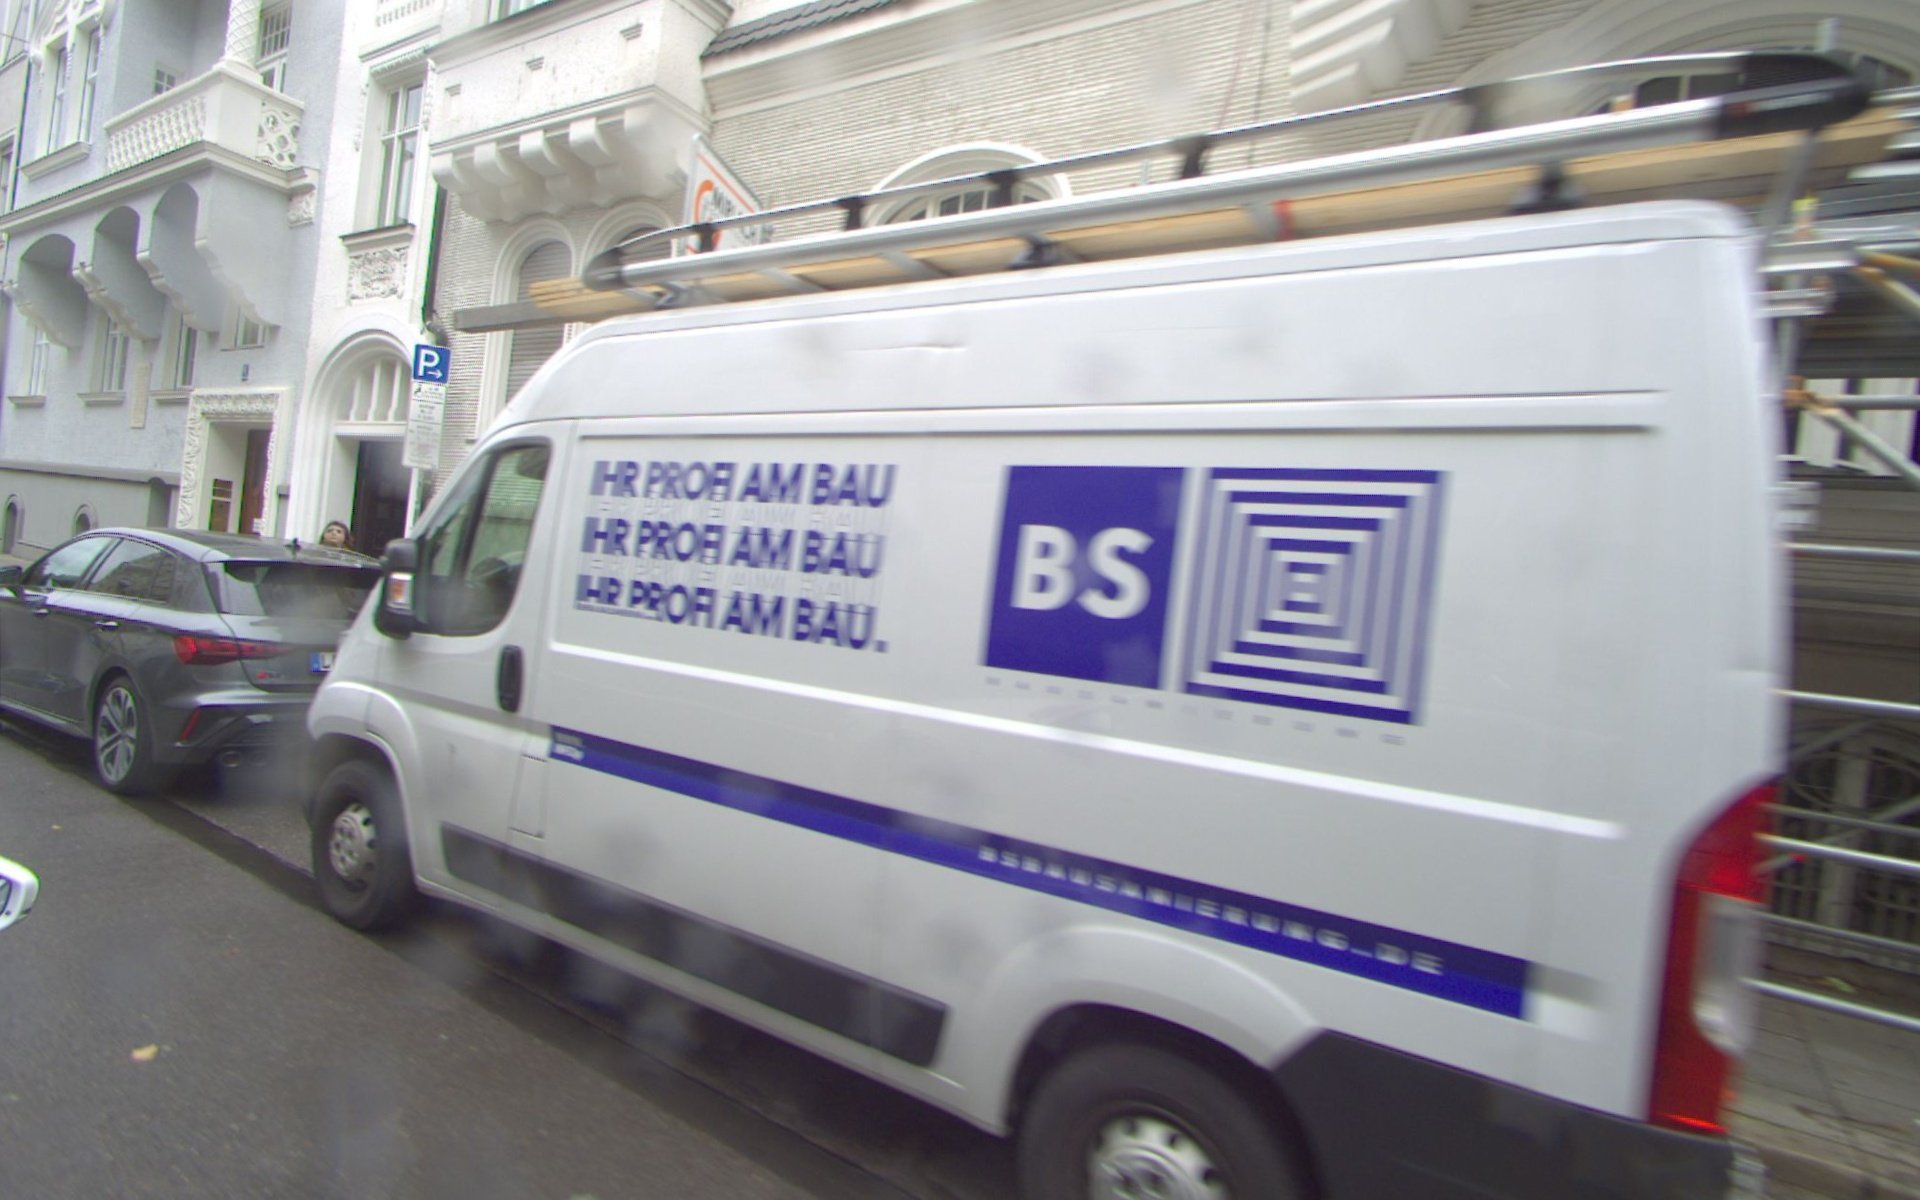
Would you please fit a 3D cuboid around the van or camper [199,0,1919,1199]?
[{"bbox_3d":[-0.438,0.158,3.805,5.368,2.670,1.955,7,1,32],"label":"van or camper"}]

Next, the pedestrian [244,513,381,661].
[{"bbox_3d":[-7.405,-0.150,11.509,1.000,1.575,0.920,5,2,31],"label":"pedestrian"}]

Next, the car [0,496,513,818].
[{"bbox_3d":[-5.076,0.198,6.689,4.018,1.452,1.756,7,0,31],"label":"car"}]
